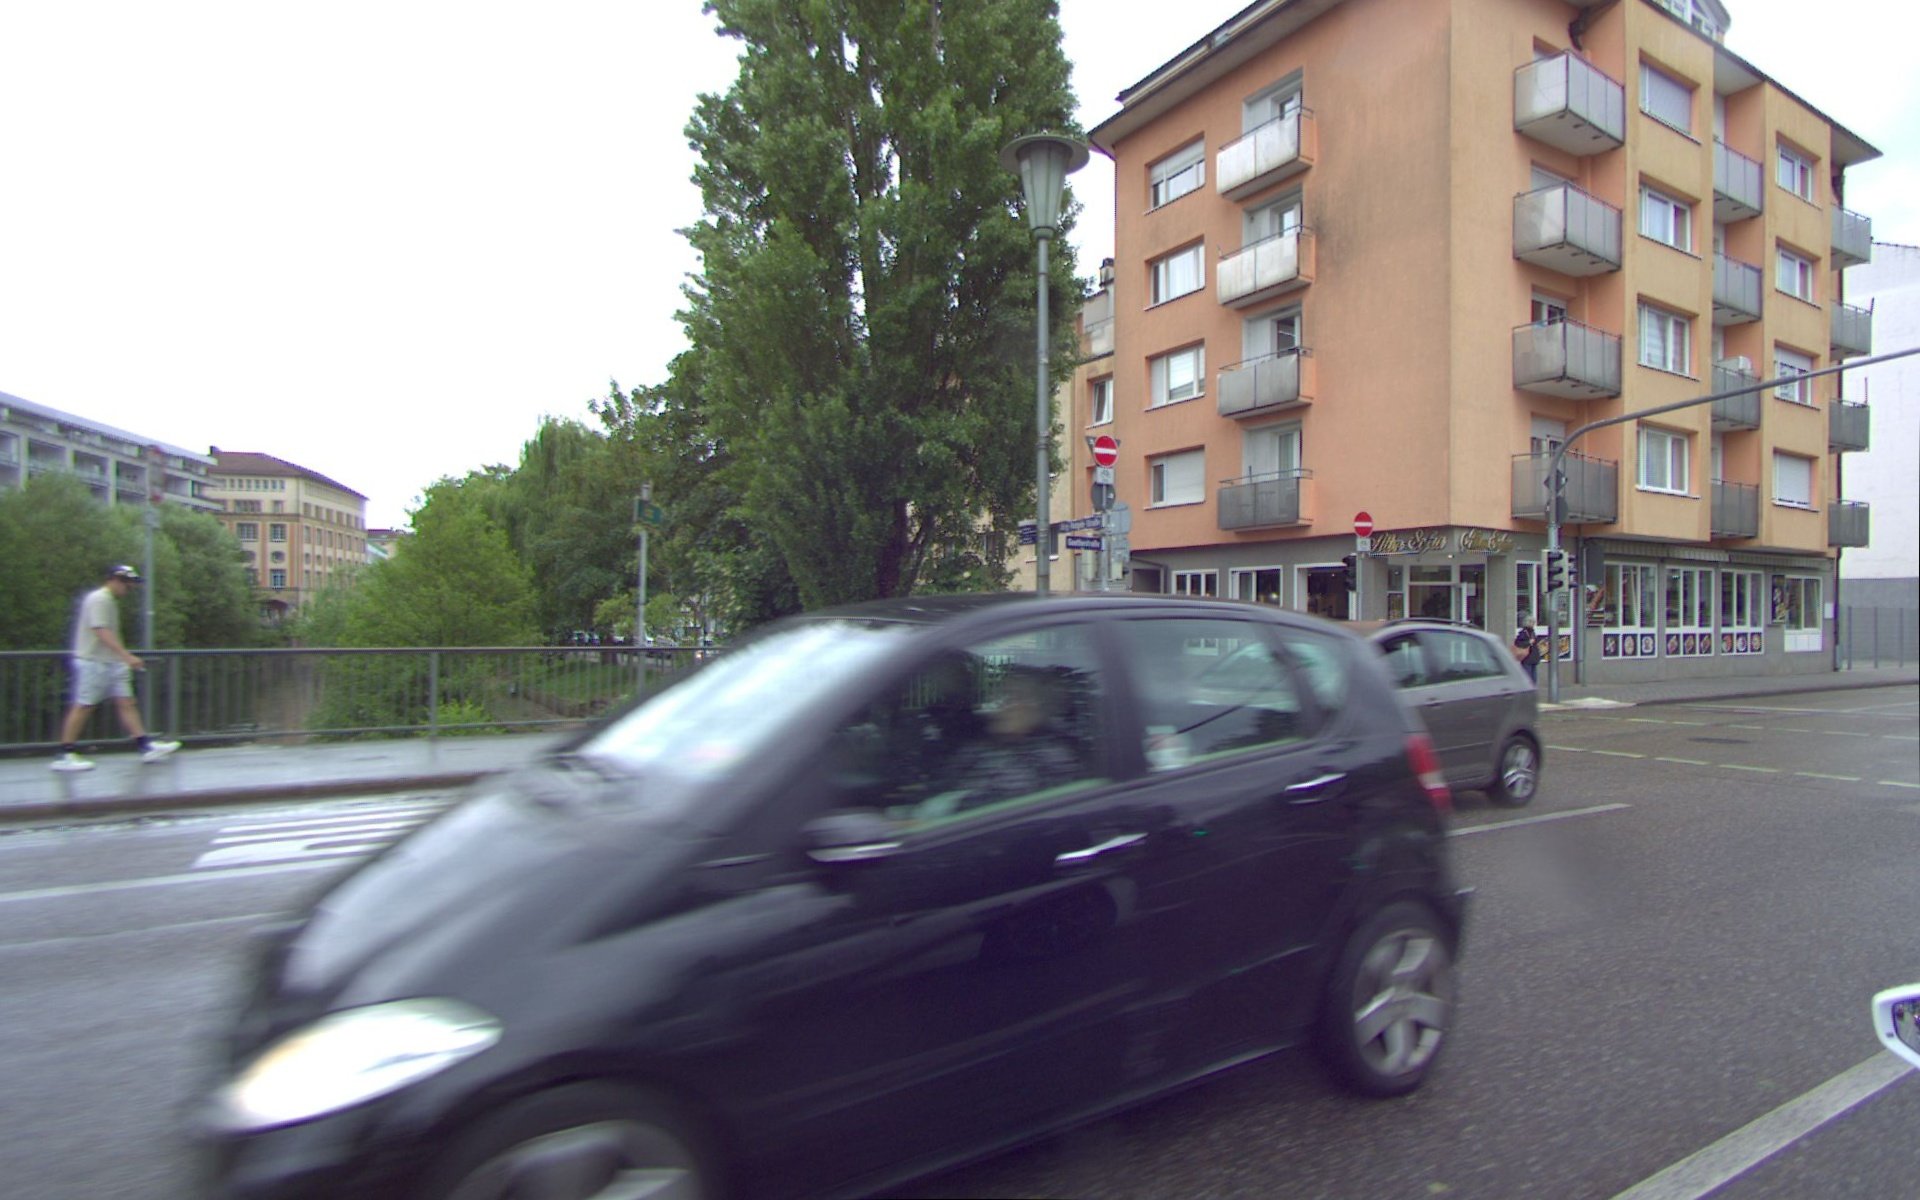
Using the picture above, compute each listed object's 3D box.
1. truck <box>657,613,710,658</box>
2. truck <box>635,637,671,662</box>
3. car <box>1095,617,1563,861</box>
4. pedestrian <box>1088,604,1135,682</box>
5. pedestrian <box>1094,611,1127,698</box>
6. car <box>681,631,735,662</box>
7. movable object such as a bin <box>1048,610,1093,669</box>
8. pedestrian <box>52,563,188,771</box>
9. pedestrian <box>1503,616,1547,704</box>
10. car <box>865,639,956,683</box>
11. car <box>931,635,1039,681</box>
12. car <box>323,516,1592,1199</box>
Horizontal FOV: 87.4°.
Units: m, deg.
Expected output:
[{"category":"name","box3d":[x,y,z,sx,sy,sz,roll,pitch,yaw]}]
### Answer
[{"category":"truck","box3d":[-17.851,2.234,64.663,2.082,2.663,4.619,1,0,-31]},{"category":"truck","box3d":[-21.488,3.443,70.302,1.582,1.530,3.569,1,0,-31]},{"category":"car","box3d":[3.200,0.966,8.529,3.875,1.623,1.728,0,-1,-32]},{"category":"pedestrian","box3d":[2.899,0.822,19.246,0.784,1.464,0.654,1,-2,0]},{"category":"pedestrian","box3d":[2.987,1.086,20.026,0.609,1.685,0.800,1,-2,7]},{"category":"car","box3d":[-12.951,2.350,51.392,1.702,1.406,3.969,0,0,-29]},{"category":"movable object such as a bin","box3d":[2.210,0.789,20.090,0.866,1.126,0.800,1,-2,6]},{"category":"pedestrian","box3d":[-7.729,0.585,9.289,0.802,1.818,0.793,1,1,-29]},{"category":"pedestrian","box3d":[11.554,1.207,20.536,0.640,1.750,0.528,0,0,-27]},{"category":"car","box3d":[-1.936,2.259,37.967,1.876,1.406,3.969,0,0,-29]},{"category":"car","box3d":[0.770,1.897,33.588,1.876,1.406,3.969,0,-2,-29]},{"category":"car","box3d":[0.187,0.711,3.383,3.874,1.622,1.728,0,-2,-31]}]
